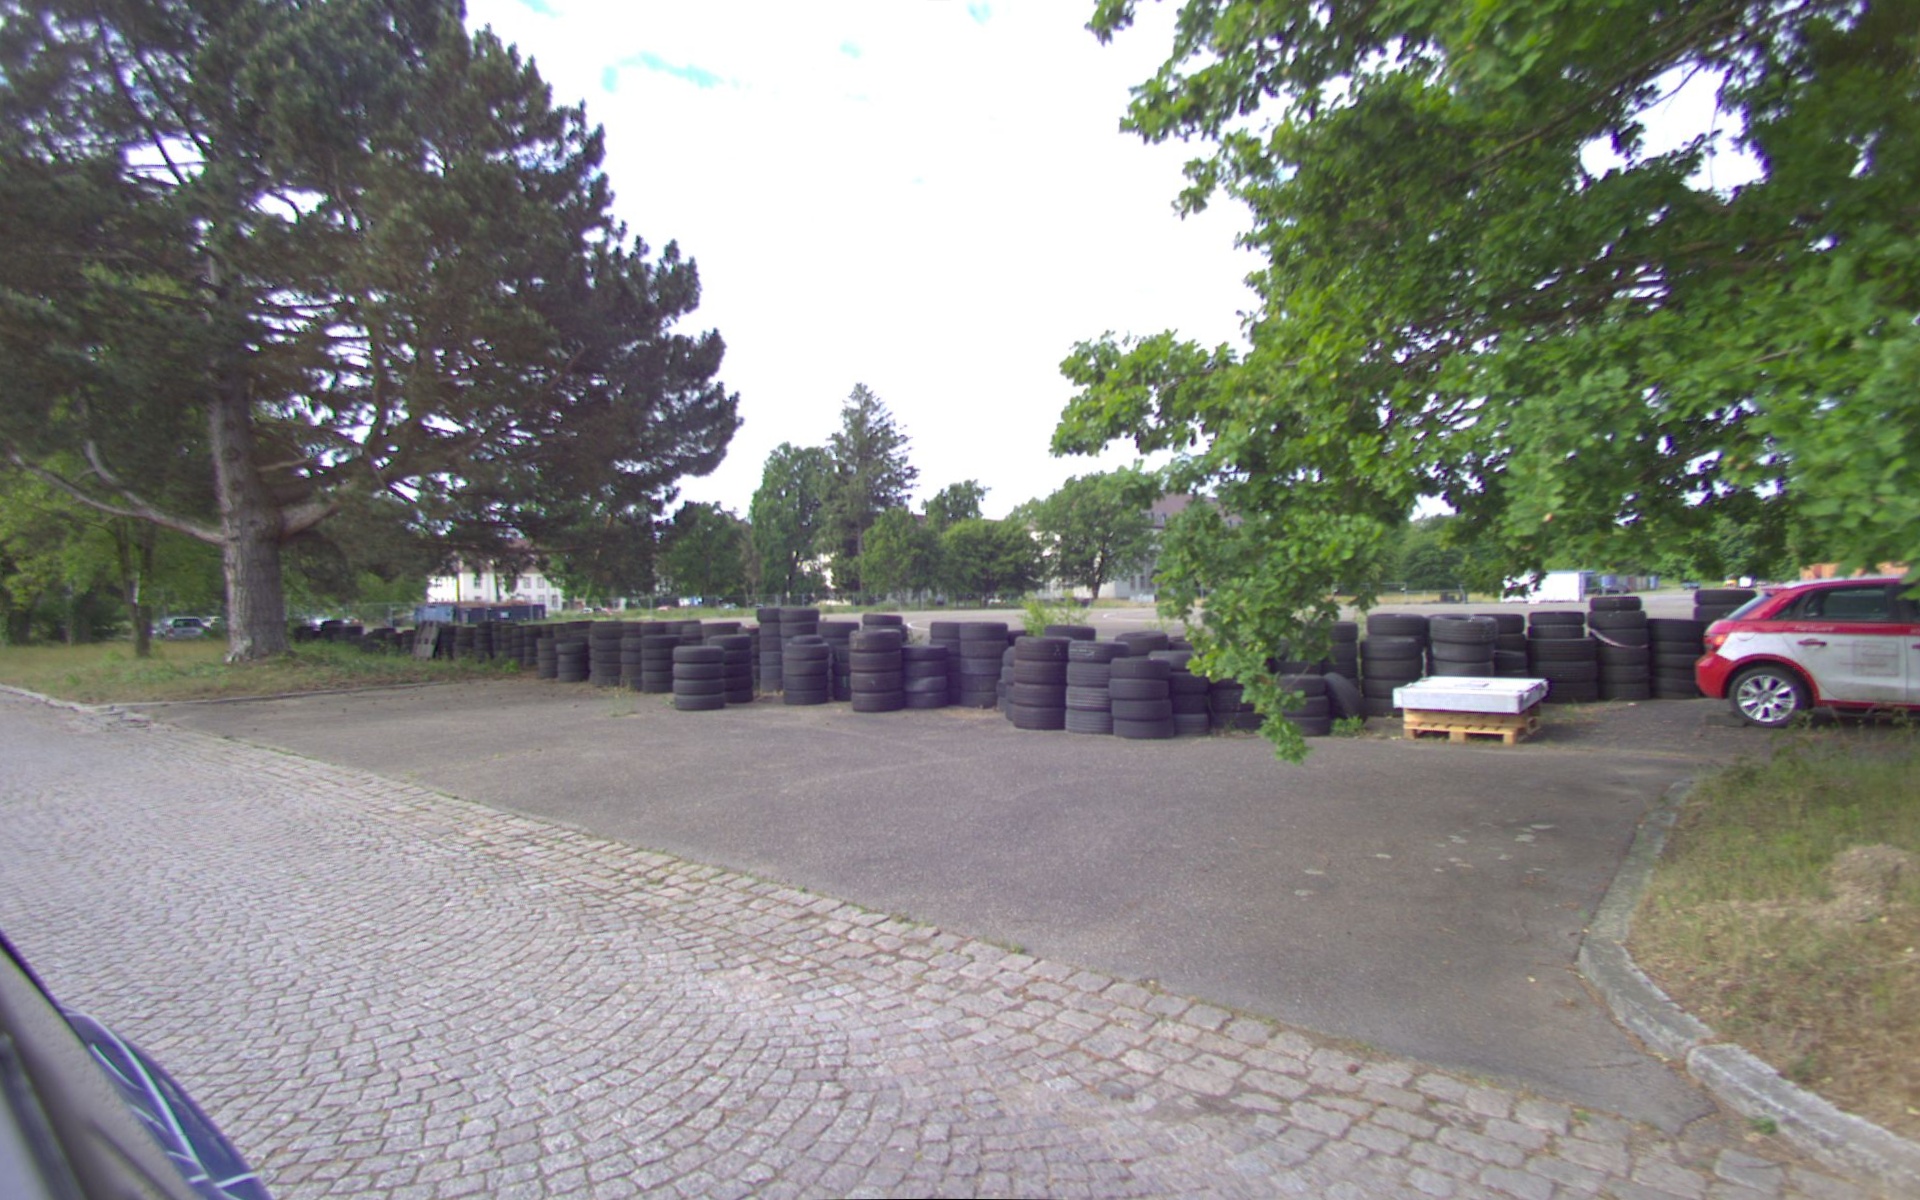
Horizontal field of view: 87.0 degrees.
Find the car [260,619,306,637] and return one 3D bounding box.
[{"bbox_3d":[-57.855,2.423,86.430,4.446,1.460,1.975,-2,0,38],"label":"car"}]

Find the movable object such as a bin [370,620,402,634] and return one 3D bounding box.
[{"bbox_3d":[-46.113,2.173,81.302,2.712,1.079,1.046,-2,0,32],"label":"movable object such as a bin"}]

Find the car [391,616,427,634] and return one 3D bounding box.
[{"bbox_3d":[-56.887,2.599,104.488,3.797,1.696,1.728,-2,0,36],"label":"car"}]

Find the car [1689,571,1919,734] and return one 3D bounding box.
[{"bbox_3d":[9.427,0.439,9.235,1.802,1.442,4.222,-1,0,-43],"label":"car"}]

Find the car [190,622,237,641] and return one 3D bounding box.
[{"bbox_3d":[-60.672,2.532,82.221,4.446,1.460,1.975,-2,0,38],"label":"car"}]

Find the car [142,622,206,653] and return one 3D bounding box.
[{"bbox_3d":[-38.829,1.851,49.961,3.719,1.421,1.649,-2,0,39],"label":"car"}]

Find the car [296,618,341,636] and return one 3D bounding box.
[{"bbox_3d":[-56.411,2.363,88.946,4.446,1.460,1.975,-2,0,38],"label":"car"}]
